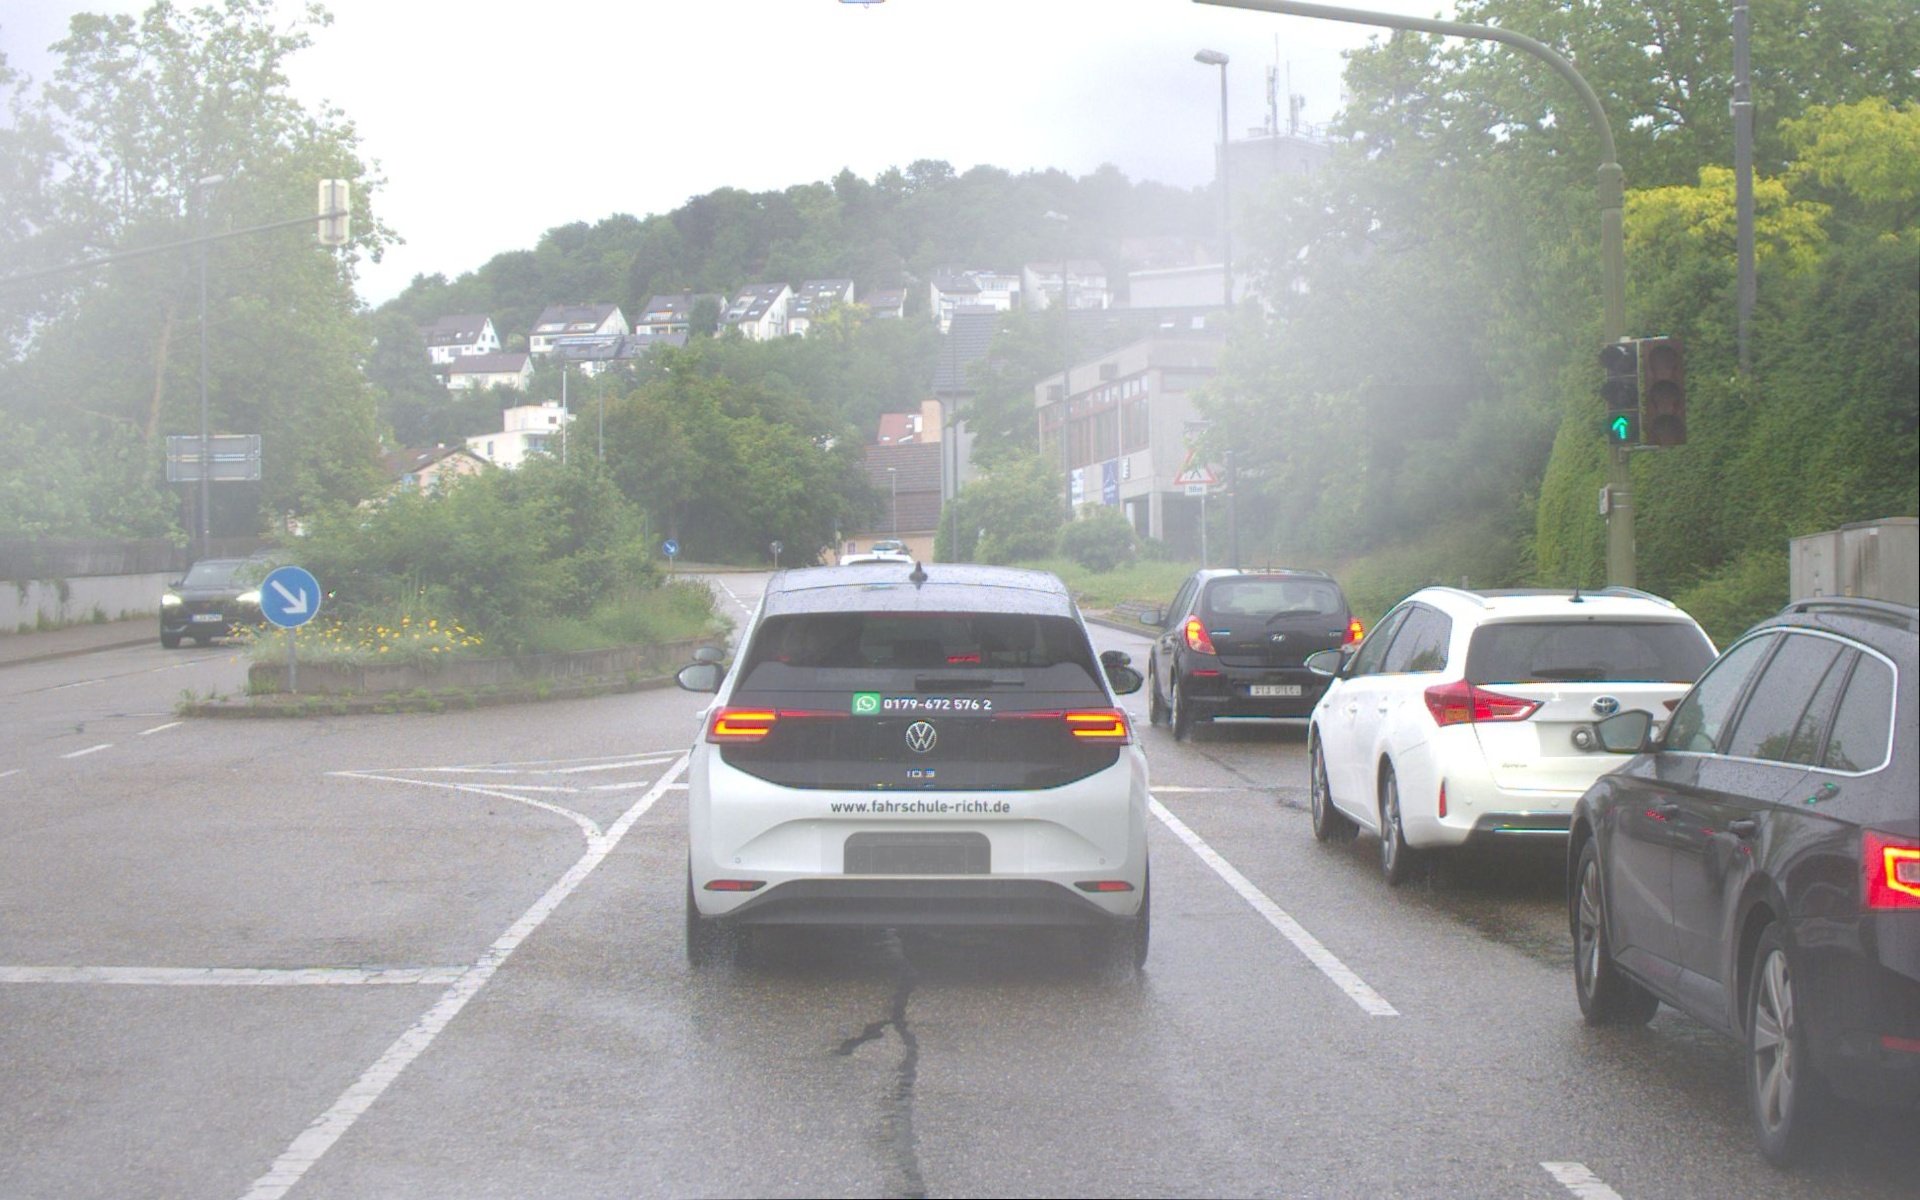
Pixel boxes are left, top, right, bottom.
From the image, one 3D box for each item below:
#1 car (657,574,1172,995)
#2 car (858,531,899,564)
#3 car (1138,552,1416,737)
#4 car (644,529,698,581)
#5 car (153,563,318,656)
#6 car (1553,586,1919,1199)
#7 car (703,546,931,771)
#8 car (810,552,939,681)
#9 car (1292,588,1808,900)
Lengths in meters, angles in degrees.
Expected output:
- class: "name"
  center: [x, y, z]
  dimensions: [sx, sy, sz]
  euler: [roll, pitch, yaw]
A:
- class: "car"
  center: [-0.191, 0.651, 14.315]
  dimensions: [1.828, 1.495, 4.168]
  euler: [0, 0, -1]
- class: "car"
  center: [-3.751, -2.405, 157.842]
  dimensions: [1.737, 1.459, 4.000]
  euler: [1, 0, -3]
- class: "car"
  center: [2.725, 0.364, 30.387]
  dimensions: [1.993, 1.448, 3.771]
  euler: [-3, 0, -1]
- class: "car"
  center: [-11.561, -1.798, 137.910]
  dimensions: [1.993, 2.007, 4.000]
  euler: [1, 0, -3]
- class: "car"
  center: [-12.496, 0.147, 59.561]
  dimensions: [1.950, 1.473, 4.296]
  euler: [-3, 0, -1]
- class: "car"
  center: [3.045, 0.750, 9.740]
  dimensions: [1.954, 1.502, 4.608]
  euler: [2, 0, 1]
- class: "car"
  center: [-1.104, 0.370, 25.756]
  dimensions: [1.567, 1.525, 4.001]
  euler: [0, 1, -3]
- class: "car"
  center: [-1.372, 0.249, 56.138]
  dimensions: [1.993, 2.007, 4.000]
  euler: [1, 0, -1]
- class: "car"
  center: [2.867, 0.642, 17.640]
  dimensions: [1.848, 1.405, 4.302]
  euler: [0, 0, -1]
